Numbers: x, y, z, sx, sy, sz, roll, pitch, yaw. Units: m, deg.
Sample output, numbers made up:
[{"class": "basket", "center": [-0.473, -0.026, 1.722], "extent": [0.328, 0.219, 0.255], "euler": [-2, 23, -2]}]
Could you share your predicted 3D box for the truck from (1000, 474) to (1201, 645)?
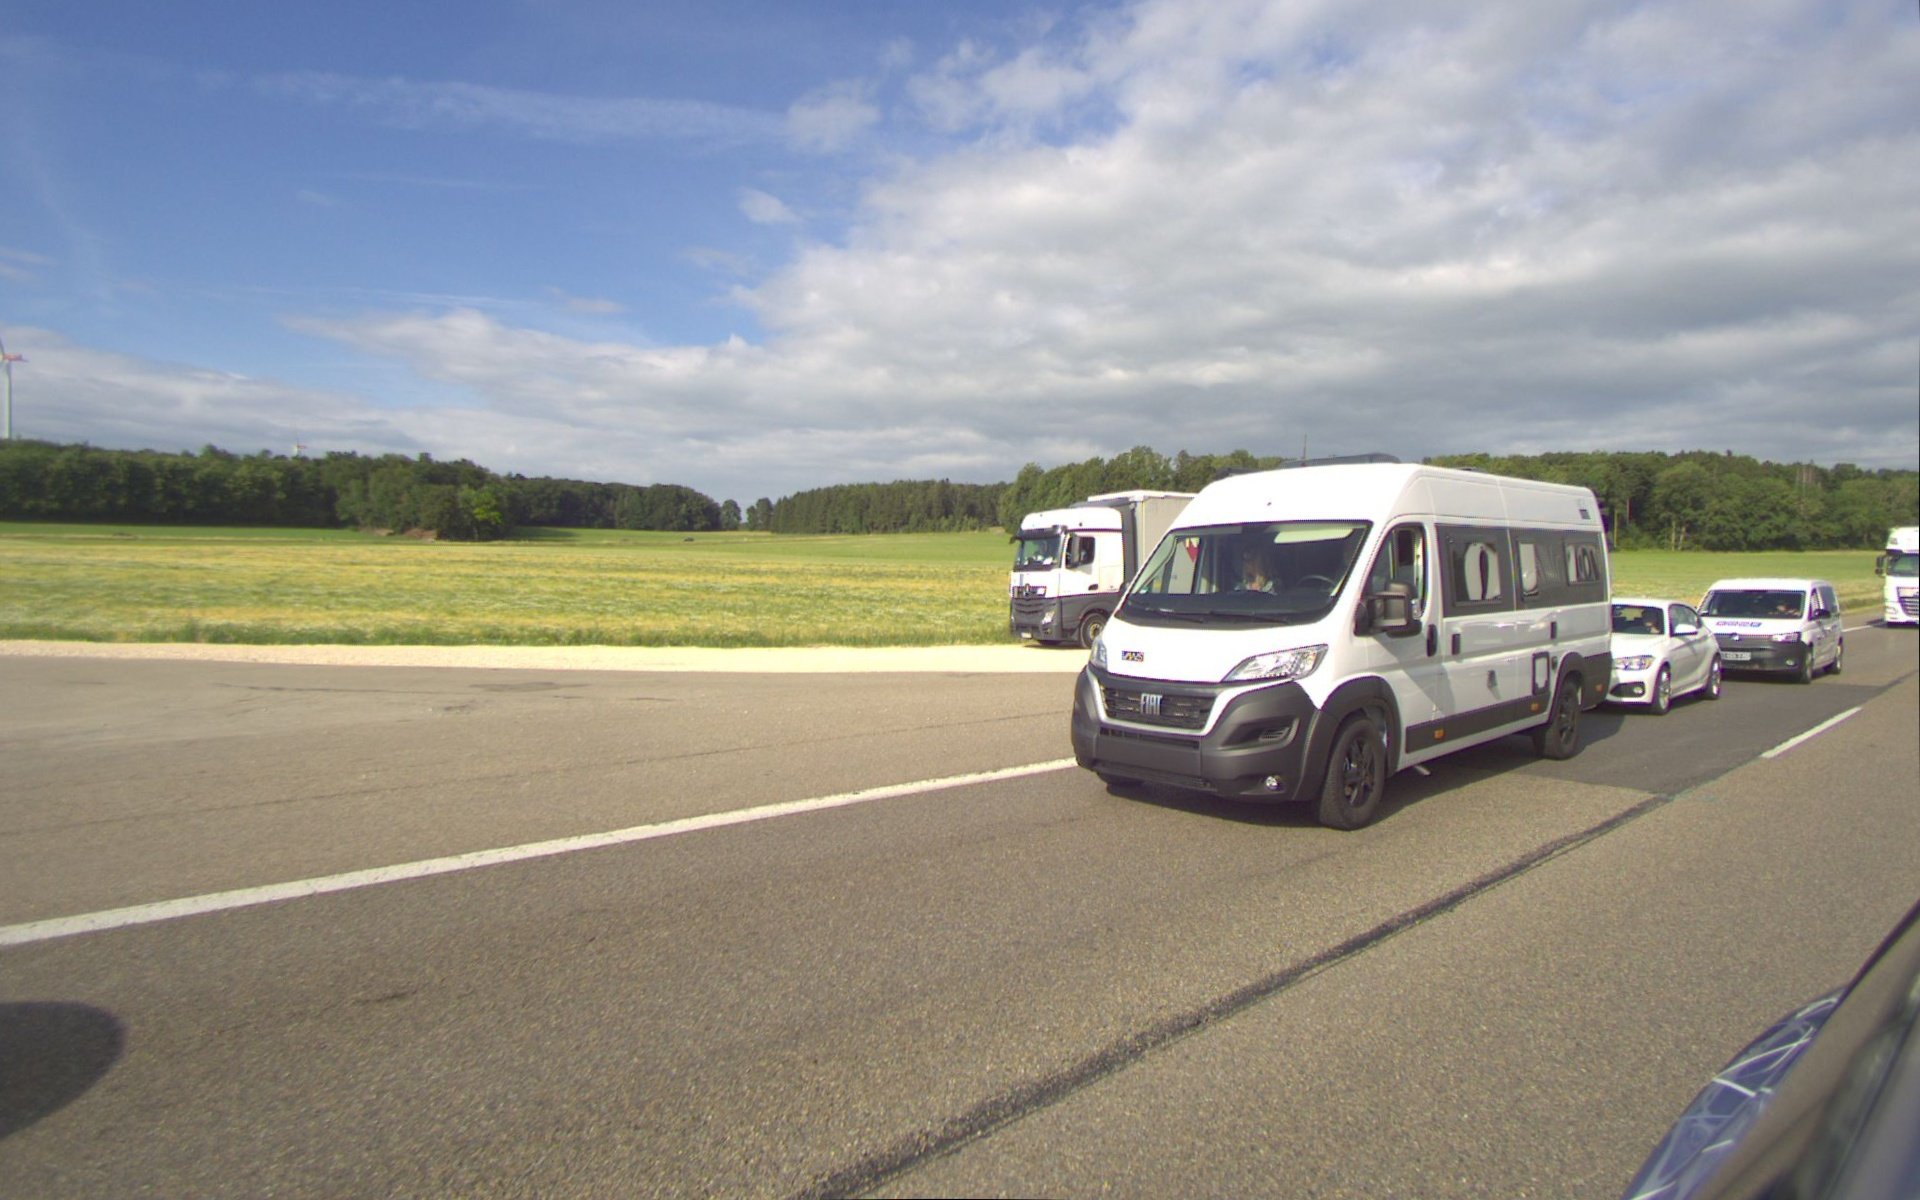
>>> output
[{"class": "truck", "center": [3.777, -1.028, 27.331], "extent": [4.663, 4.226, 2.726], "euler": [0, 0, -27]}]

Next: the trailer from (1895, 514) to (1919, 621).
[{"class": "trailer", "center": [43.333, -1.428, 43.966], "extent": [13.781, 4.212, 2.739], "euler": [-2, 1, -42]}]

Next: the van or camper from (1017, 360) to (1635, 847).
[{"class": "van or camper", "center": [3.466, -0.031, 8.547], "extent": [6.223, 2.714, 2.218], "euler": [-1, 1, -42]}]

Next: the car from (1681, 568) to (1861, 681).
[{"class": "car", "center": [14.527, 0.361, 18.028], "extent": [4.621, 1.779, 1.727], "euler": [-1, 0, -41]}]

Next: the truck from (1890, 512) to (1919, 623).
[{"class": "truck", "center": [39.023, -1.304, 40.054], "extent": [5.668, 4.226, 2.733], "euler": [-1, 1, -42]}]

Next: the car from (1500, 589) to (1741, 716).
[{"class": "car", "center": [9.016, 0.582, 13.679], "extent": [4.159, 1.450, 1.706], "euler": [-1, 1, -42]}]

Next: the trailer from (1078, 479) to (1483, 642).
[{"class": "trailer", "center": [10.017, -1.059, 30.471], "extent": [13.544, 4.213, 2.748], "euler": [0, 0, -27]}]
